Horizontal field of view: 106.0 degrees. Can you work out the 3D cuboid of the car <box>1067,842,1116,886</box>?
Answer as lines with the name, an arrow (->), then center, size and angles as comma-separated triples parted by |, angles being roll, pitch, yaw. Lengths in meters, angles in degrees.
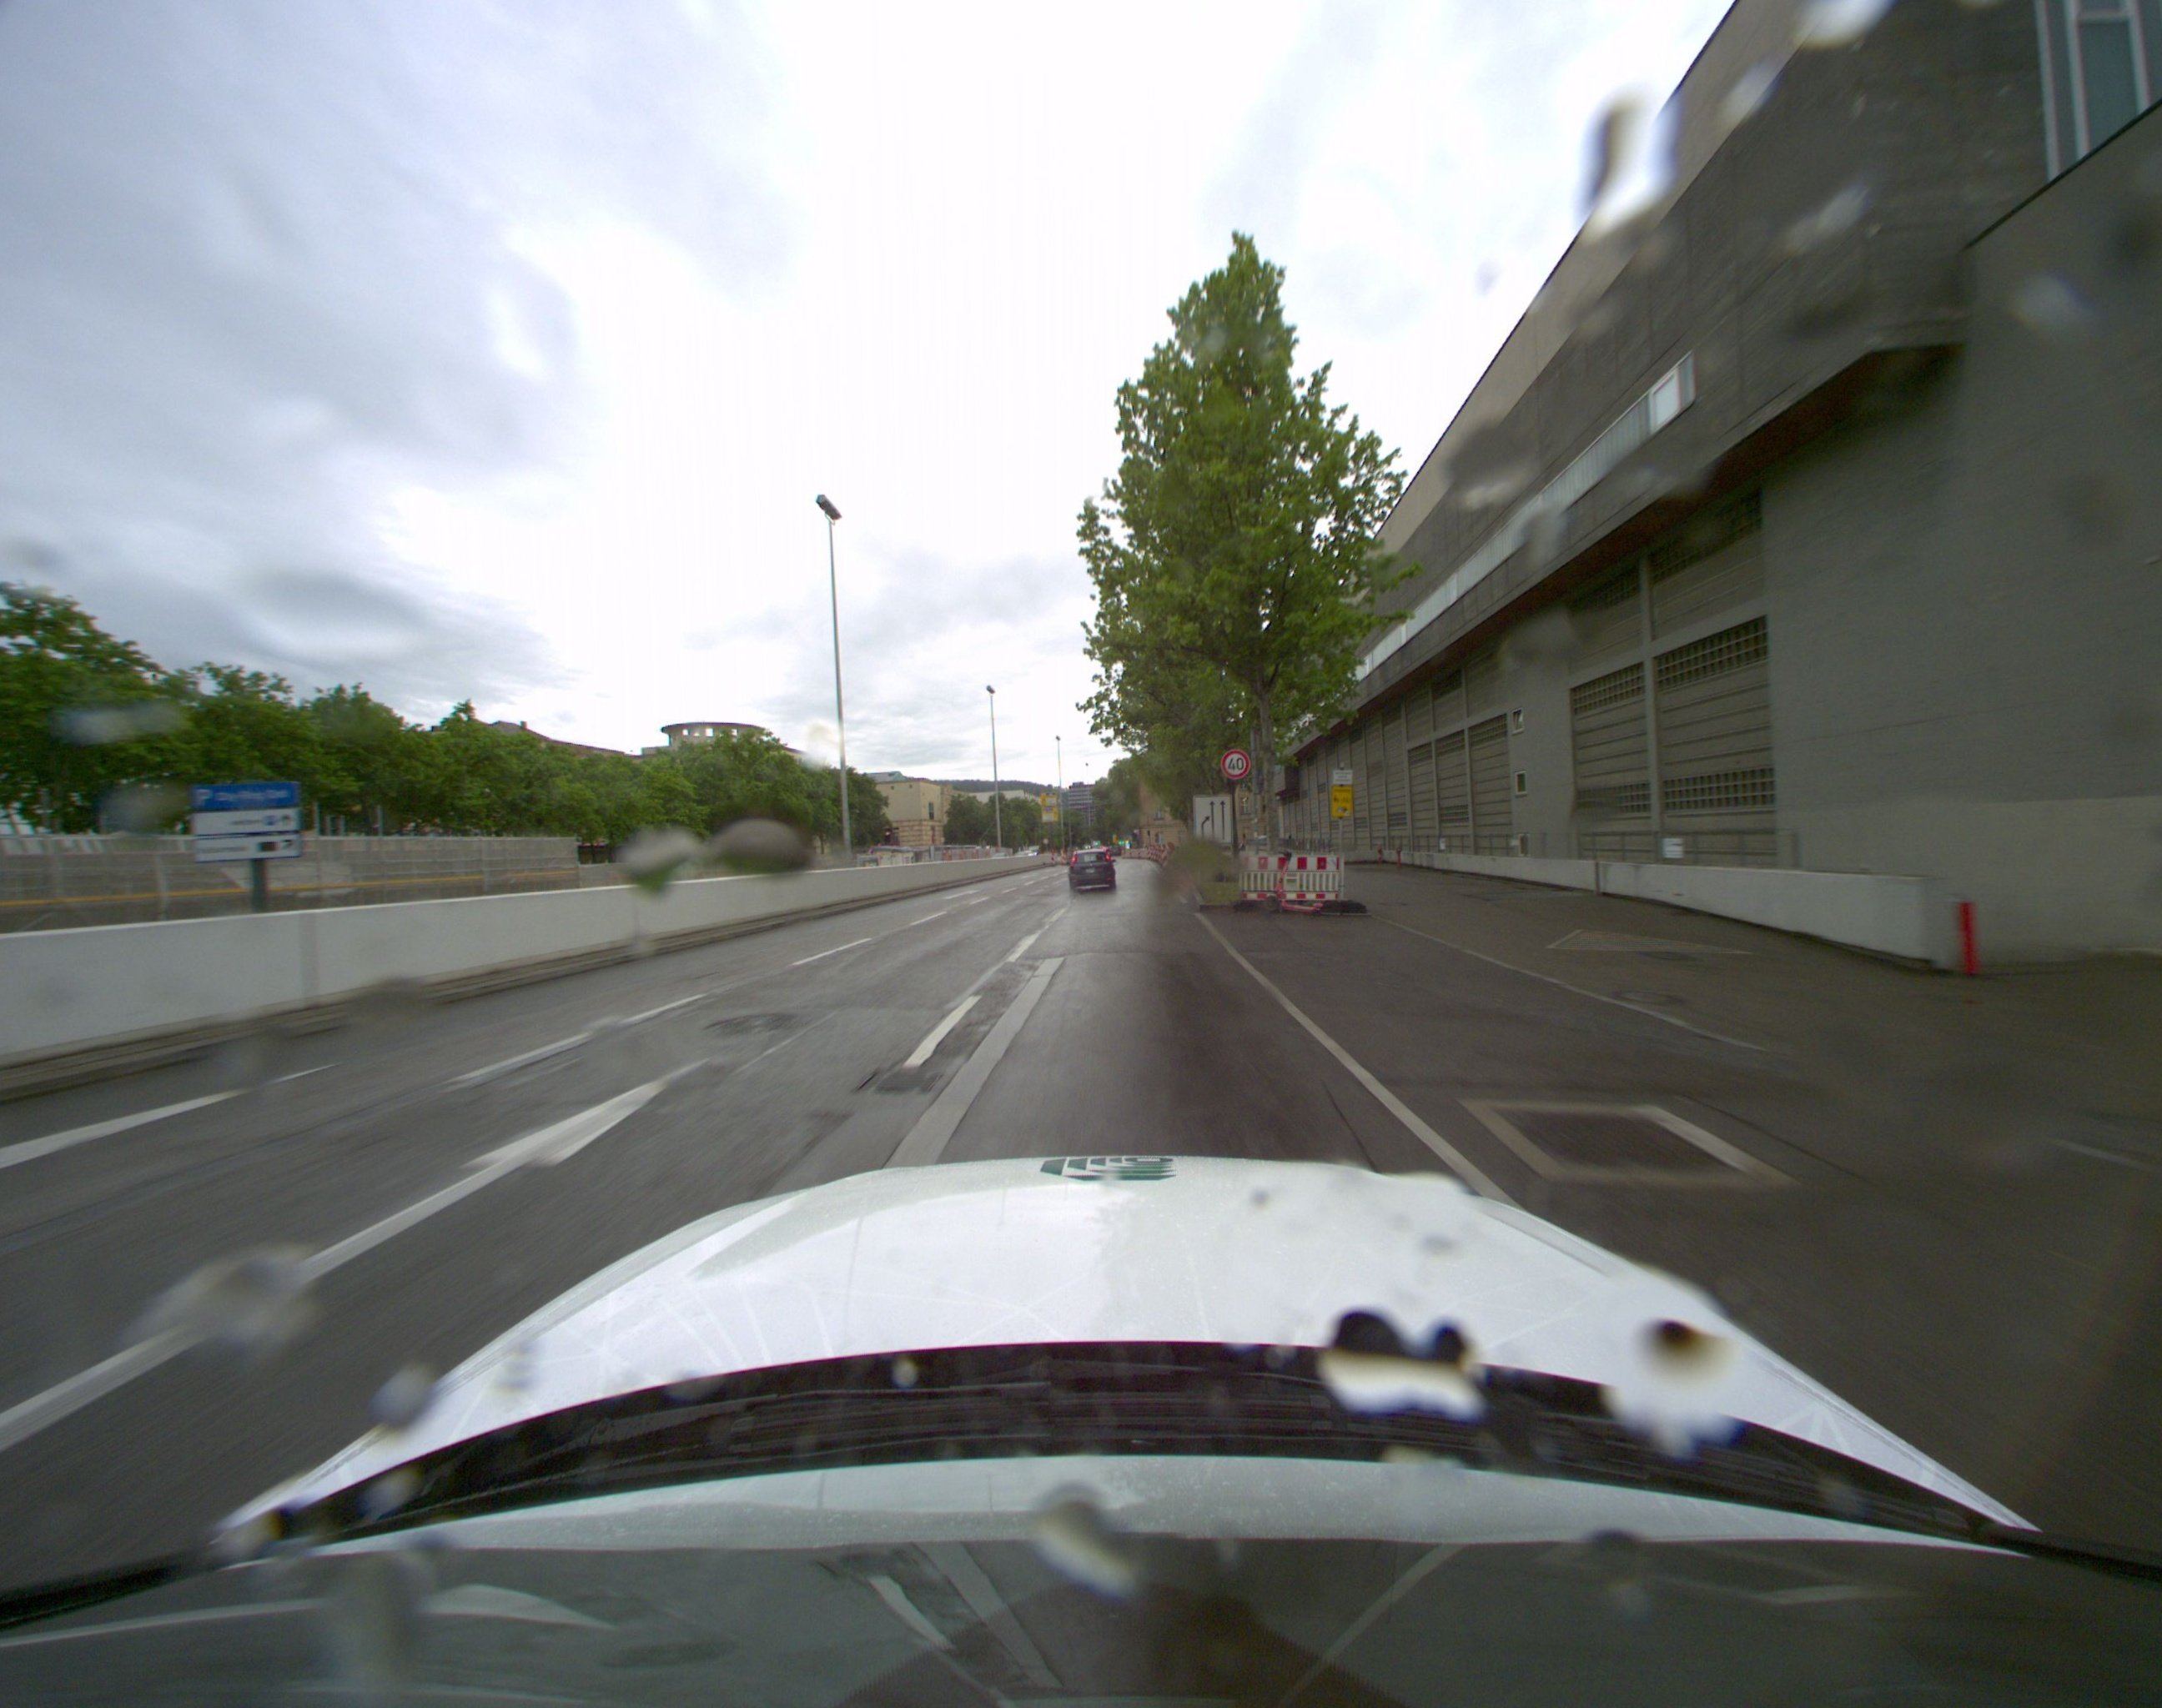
car -> 0.354, 0.317, 29.718 | 1.665, 1.427, 3.757 | -1, 2, -1

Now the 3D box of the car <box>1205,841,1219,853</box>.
car -> 20.224, -1.049, 125.894 | 1.982, 1.708, 4.010 | -2, -1, 9

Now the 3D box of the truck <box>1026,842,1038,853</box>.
truck -> -10.757, -1.433, 178.912 | 2.410, 2.339, 5.433 | -1, -1, -5

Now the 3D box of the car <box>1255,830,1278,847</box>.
car -> 22.288, -1.812, 98.005 | 1.984, 1.760, 5.103 | -3, -1, 5

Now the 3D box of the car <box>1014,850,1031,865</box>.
car -> -8.489, 0.522, 118.656 | 1.985, 2.013, 4.004 | -1, 0, 4

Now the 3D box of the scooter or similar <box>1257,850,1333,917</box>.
scooter or similar -> 4.230, 0.575, 16.174 | 1.349, 1.285, 0.620 | -1, -1, 5

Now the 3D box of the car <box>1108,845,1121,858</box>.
car -> 5.362, -0.413, 130.130 | 1.985, 2.013, 4.005 | -2, 1, 4

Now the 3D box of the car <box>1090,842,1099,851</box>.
car -> 3.354, -1.789, 201.005 | 1.987, 2.014, 3.998 | -1, -1, -1

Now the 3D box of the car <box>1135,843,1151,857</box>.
car -> 8.144, -0.599, 106.528 | 1.985, 1.708, 4.005 | -2, 1, 4

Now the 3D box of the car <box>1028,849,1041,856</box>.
car -> -7.606, -0.235, 134.107 | 1.619, 1.195, 3.409 | -1, 0, 4

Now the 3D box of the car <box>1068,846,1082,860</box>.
car -> -0.582, -0.093, 86.290 | 1.381, 1.386, 3.066 | -4, 0, 0
